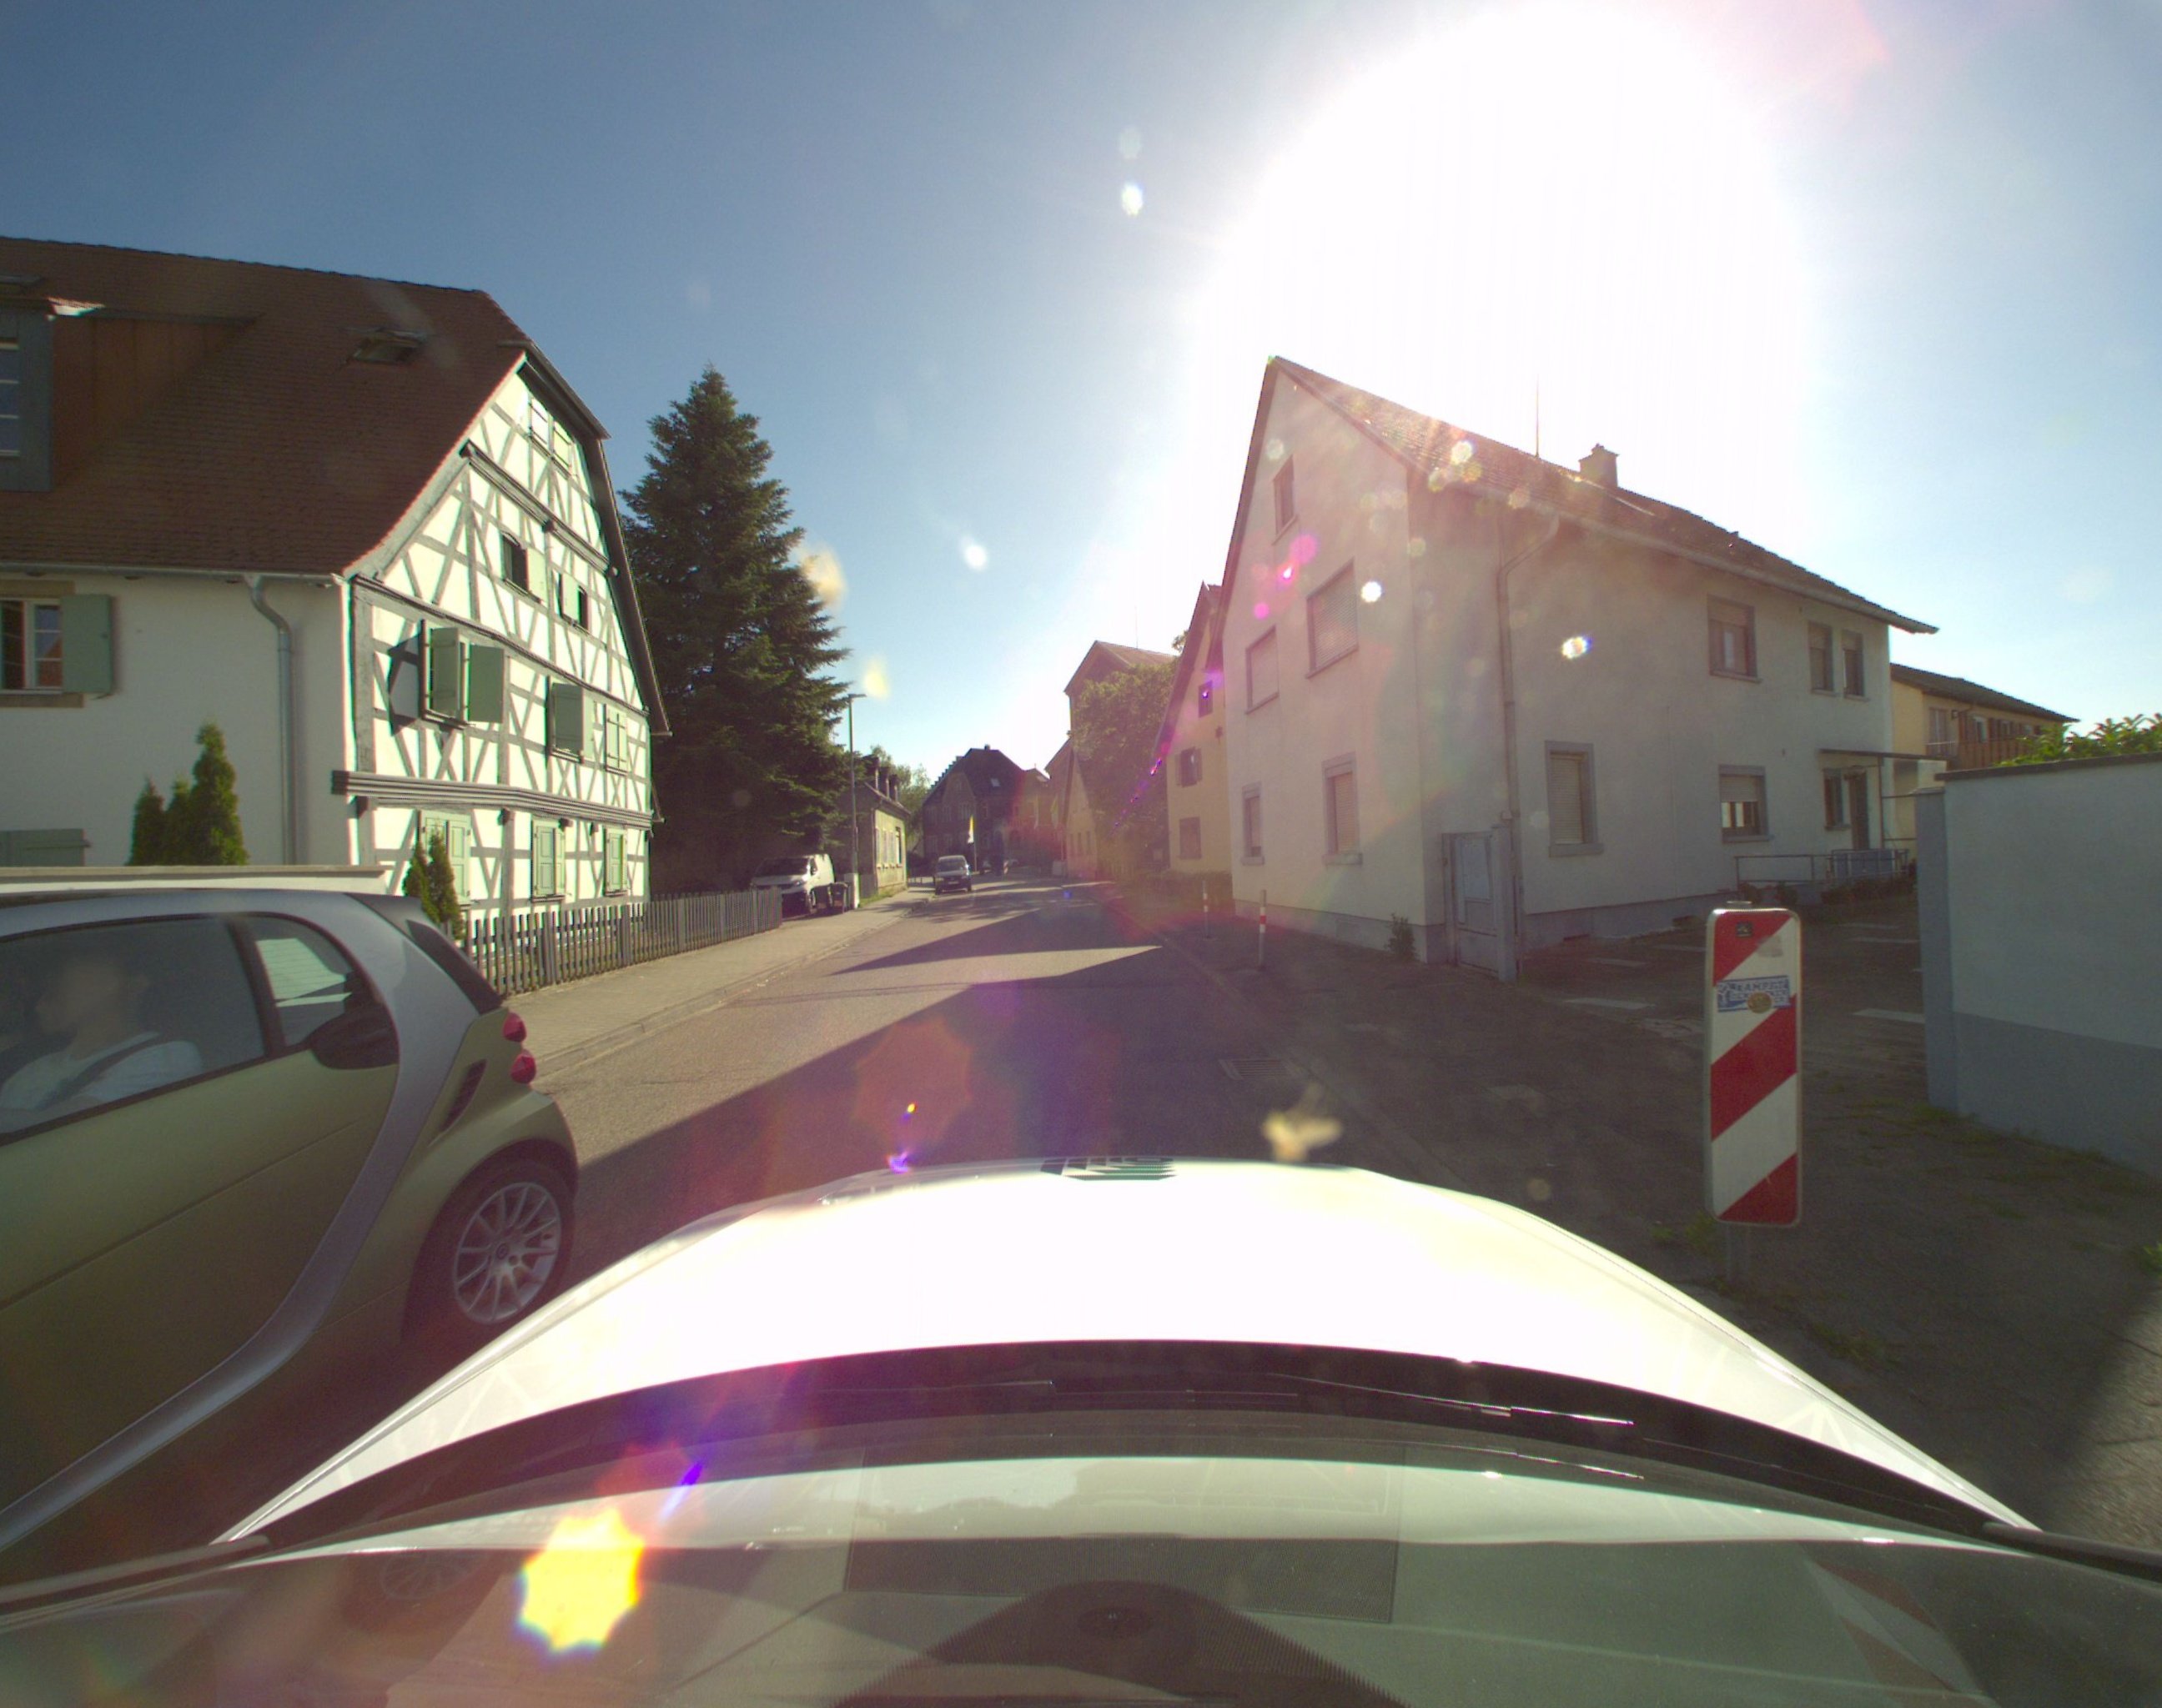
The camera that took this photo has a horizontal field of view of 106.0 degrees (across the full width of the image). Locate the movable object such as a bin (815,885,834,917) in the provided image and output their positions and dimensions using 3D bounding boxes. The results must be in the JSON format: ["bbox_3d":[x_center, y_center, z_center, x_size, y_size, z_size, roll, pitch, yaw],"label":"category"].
[{"bbox_3d":[-7.793,1.428,24.733,0.419,0.924,0.490,-3,2,-6],"label":"movable object such as a bin"}]

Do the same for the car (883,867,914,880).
[{"bbox_3d":[-20.464,2.208,91.130,1.726,1.400,4.200,-2,0,-36],"label":"car"}]

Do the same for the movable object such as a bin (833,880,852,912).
[{"bbox_3d":[-7.404,1.290,25.285,0.427,0.924,0.490,-3,2,-6],"label":"movable object such as a bin"}]

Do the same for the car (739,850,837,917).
[{"bbox_3d":[-9.825,0.897,27.742,1.938,1.955,5.130,-2,1,-7],"label":"car"}]

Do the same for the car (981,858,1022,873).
[{"bbox_3d":[-8.666,1.211,88.859,4.268,1.400,1.698,-3,0,-39],"label":"car"}]

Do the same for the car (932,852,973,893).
[{"bbox_3d":[-6.485,0.904,41.161,1.825,1.814,4.189,-4,0,-9],"label":"car"}]

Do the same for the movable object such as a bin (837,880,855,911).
[{"bbox_3d":[-7.446,1.306,25.793,0.419,0.924,0.490,-3,2,-6],"label":"movable object such as a bin"}]

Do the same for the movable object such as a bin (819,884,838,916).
[{"bbox_3d":[-7.833,1.414,25.237,0.419,0.924,0.490,-3,2,-6],"label":"movable object such as a bin"}]

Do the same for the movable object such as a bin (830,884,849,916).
[{"bbox_3d":[-7.346,1.395,24.782,0.439,0.924,0.490,-3,2,-6],"label":"movable object such as a bin"}]

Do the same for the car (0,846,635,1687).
[{"bbox_3d":[-2.777,0.807,1.807,1.565,1.546,2.972,-4,0,8],"label":"car"}]
